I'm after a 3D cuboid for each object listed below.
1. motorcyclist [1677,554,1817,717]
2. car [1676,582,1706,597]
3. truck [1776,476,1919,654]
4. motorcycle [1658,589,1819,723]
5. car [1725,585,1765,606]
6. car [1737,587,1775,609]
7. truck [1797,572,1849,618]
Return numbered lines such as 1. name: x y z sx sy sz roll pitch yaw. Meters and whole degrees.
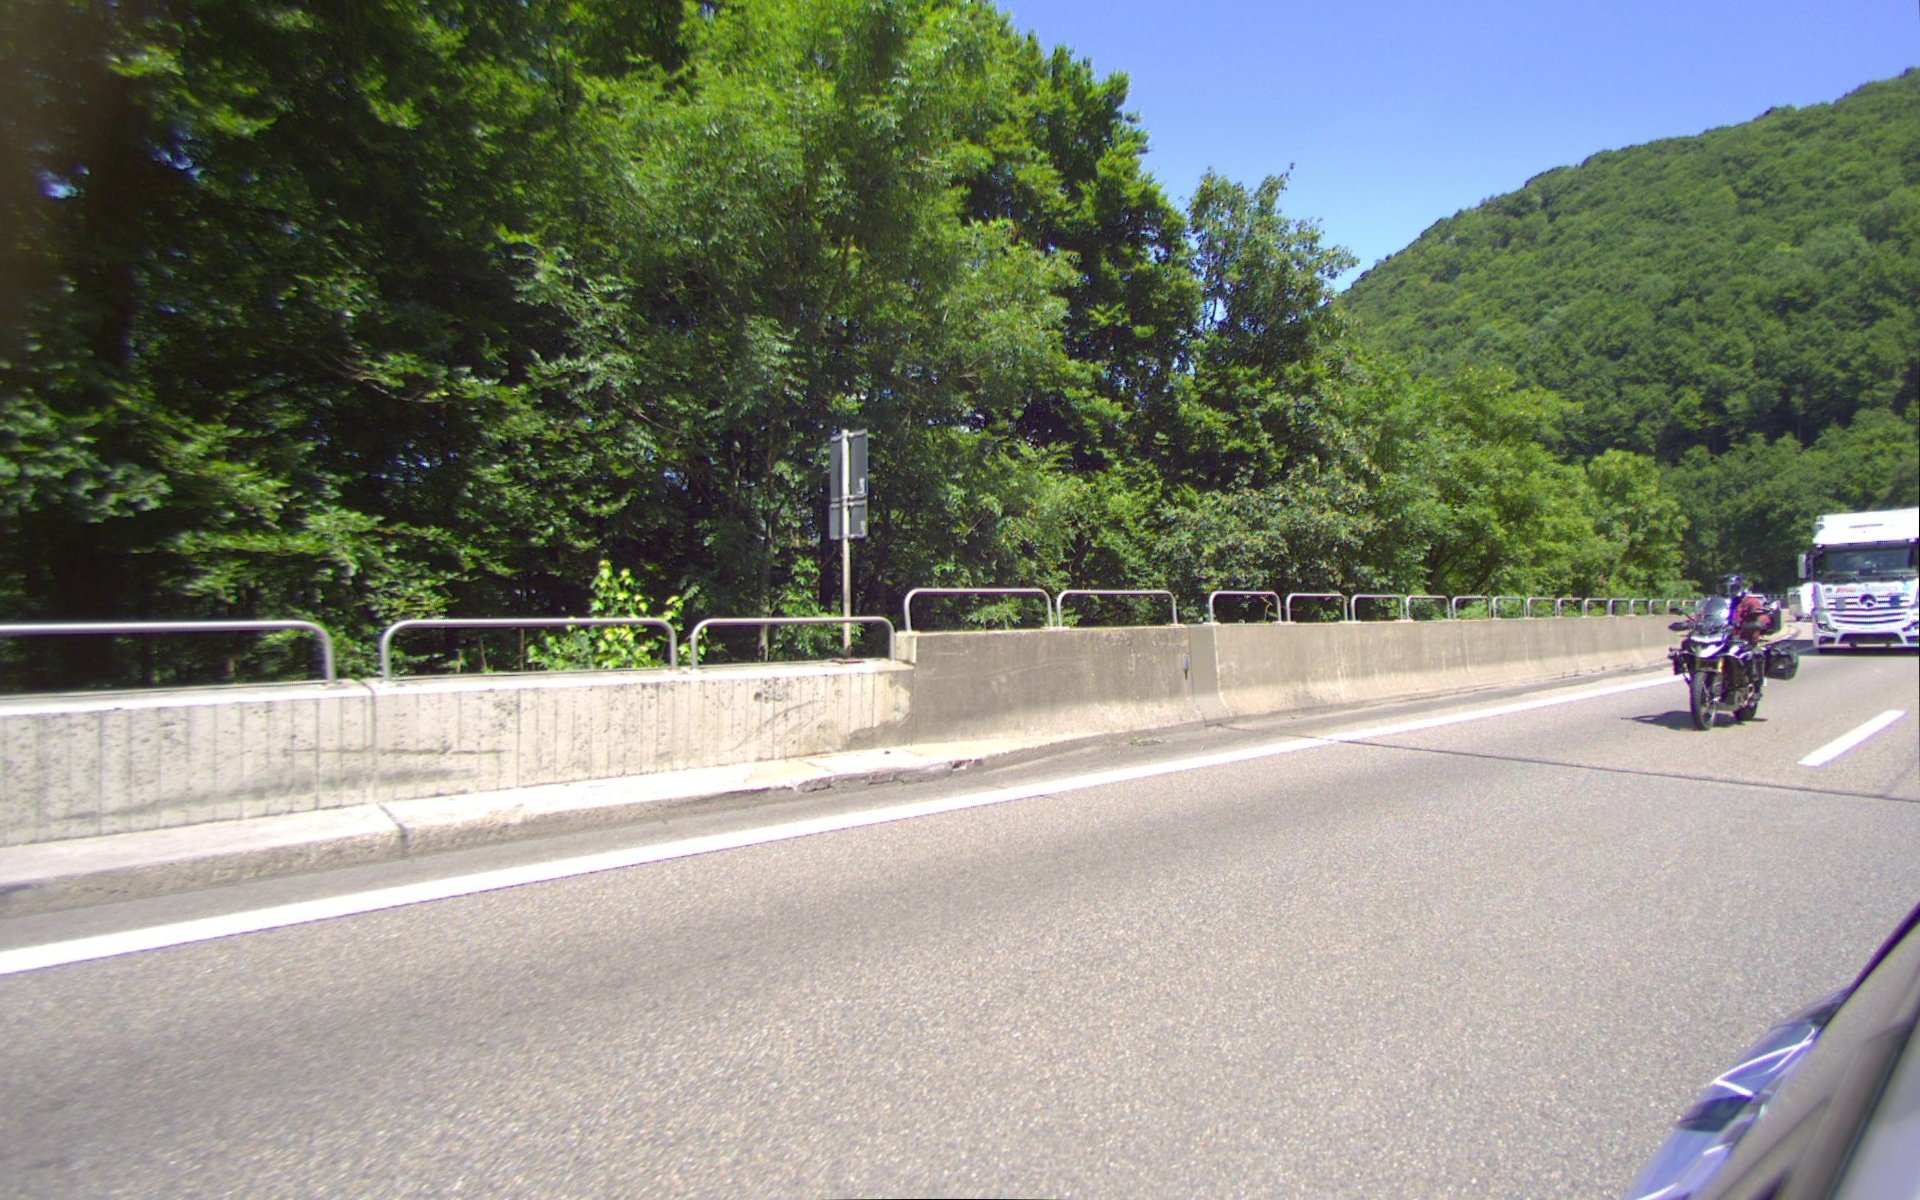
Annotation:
1. motorcyclist: 9.498 0.398 12.215 1.314 1.823 1.062 0 -1 -40
2. car: 96.799 -1.410 134.086 1.973 1.817 3.976 -2 -1 18
3. truck: 27.618 -0.825 30.256 16.432 4.186 2.962 0 -2 -44
4. motorcycle: 9.342 0.593 12.096 2.633 1.437 0.974 0 0 -40
5. car: 78.950 -0.433 101.814 1.975 2.039 3.974 -1 0 20
6. car: 75.789 -0.169 96.383 1.979 2.039 3.964 0 0 26
7. truck: 63.055 -0.320 74.048 2.605 3.142 6.757 -3 -2 39
